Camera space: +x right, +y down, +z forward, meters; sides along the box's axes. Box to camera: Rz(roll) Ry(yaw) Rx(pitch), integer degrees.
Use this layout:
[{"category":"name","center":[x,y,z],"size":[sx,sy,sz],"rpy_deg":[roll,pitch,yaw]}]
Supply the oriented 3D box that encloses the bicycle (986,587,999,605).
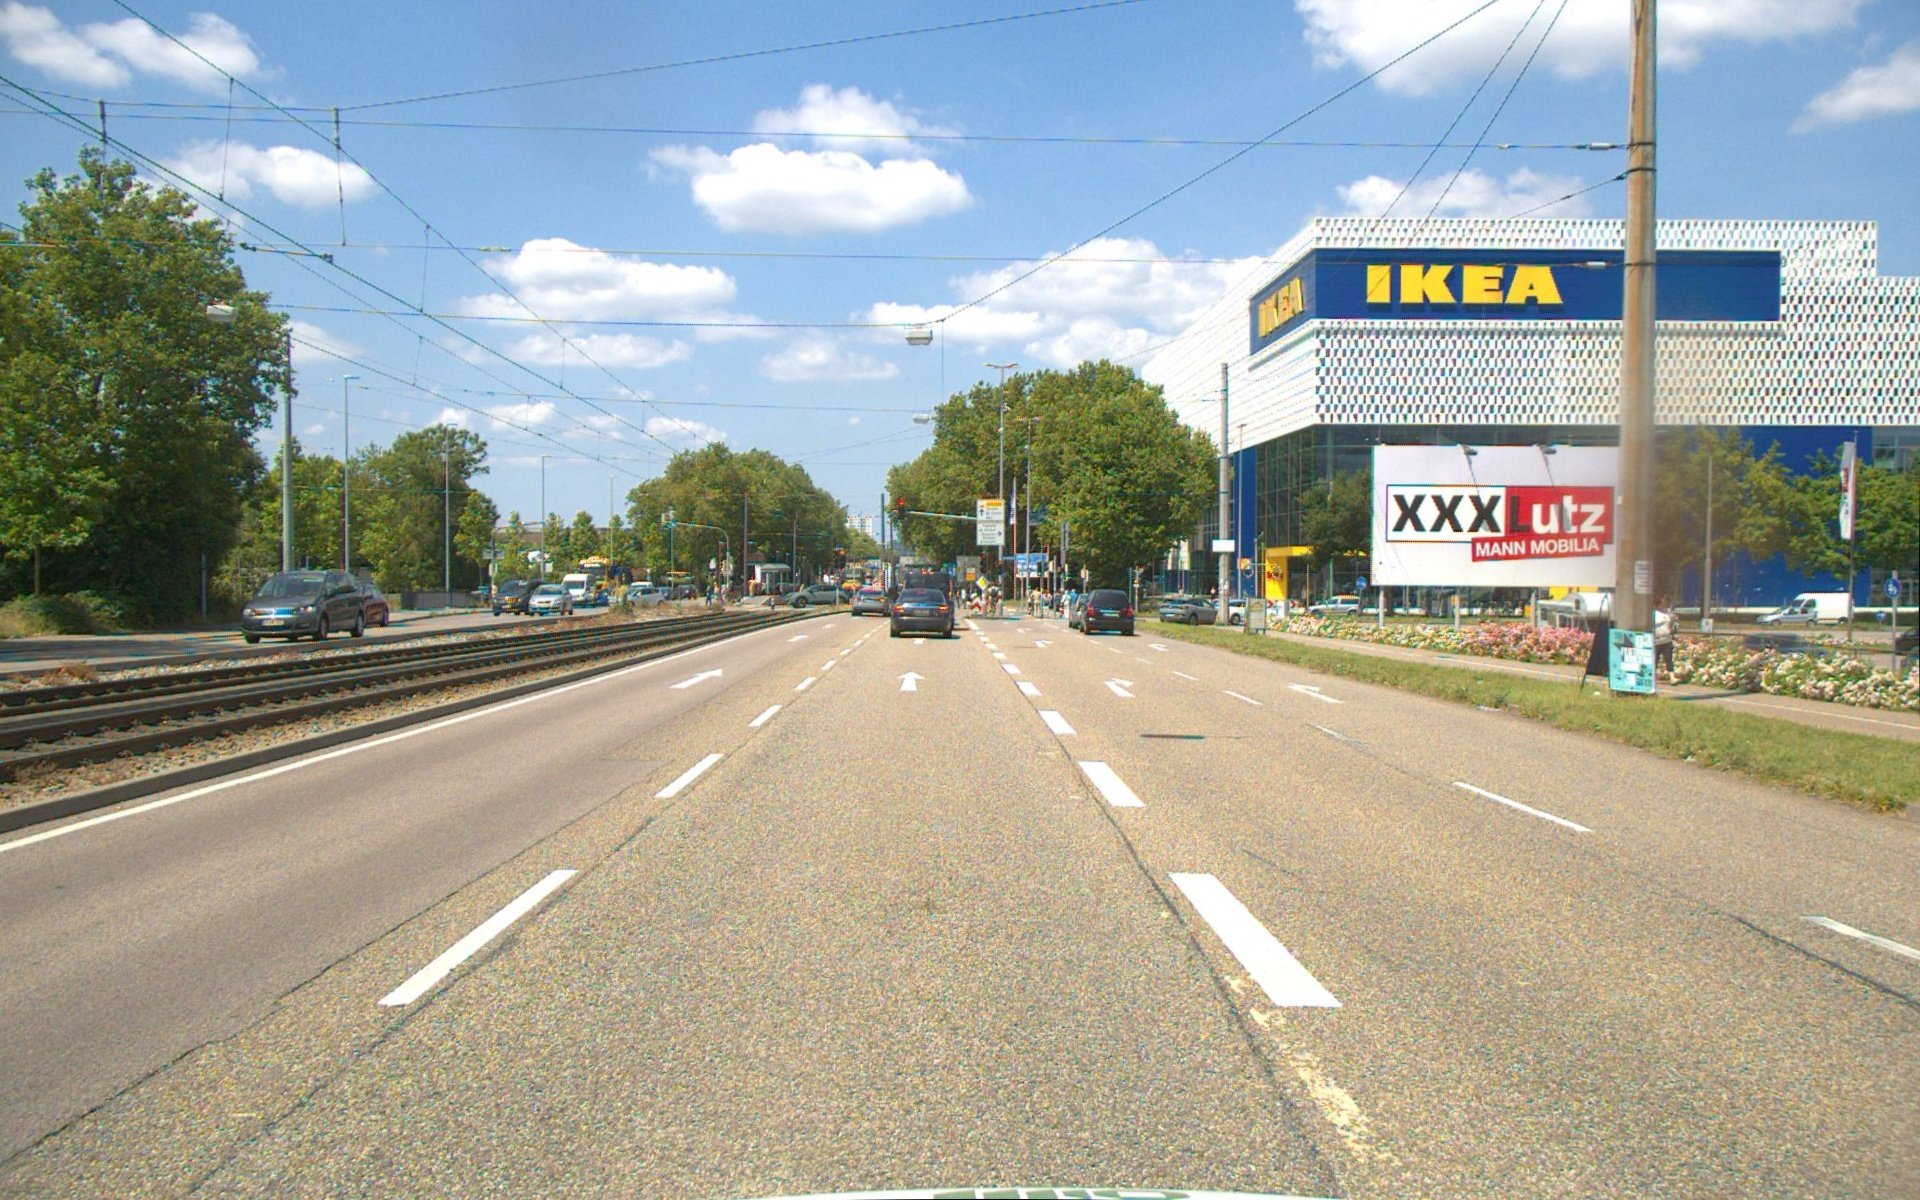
[{"category":"bicycle","center":[1.875,-0.258,95.277],"size":[0.674,1.011,2.751],"rpy_deg":[1,0,-1]}]

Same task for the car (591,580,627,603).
[{"category":"car","center":[-26.826,-0.659,126.505],"size":[1.785,1.699,4.460],"rpy_deg":[2,1,-1]}]

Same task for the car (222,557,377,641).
[{"category":"car","center":[-16.126,-0.052,40.651],"size":[1.954,1.862,4.967],"rpy_deg":[-2,1,-3]}]

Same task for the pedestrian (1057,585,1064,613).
[{"category":"pedestrian","center":[5.891,-0.058,97.183],"size":[0.332,1.663,0.377],"rpy_deg":[1,0,2]}]

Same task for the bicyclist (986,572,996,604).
[{"category":"bicyclist","center":[1.799,-0.661,95.182],"size":[0.518,1.820,1.088],"rpy_deg":[1,0,-1]}]

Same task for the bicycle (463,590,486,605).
[{"category":"bicycle","center":[-34.478,-0.191,117.433],"size":[1.462,1.004,0.485],"rpy_deg":[1,0,-5]}]

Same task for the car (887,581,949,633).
[{"category":"car","center":[-1.245,0.163,49.512],"size":[1.756,1.480,3.999],"rpy_deg":[0,1,-1]}]

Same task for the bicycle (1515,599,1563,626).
[{"category":"bicycle","center":[33.048,0.702,94.442],"size":[2.372,1.507,0.989],"rpy_deg":[1,0,3]}]

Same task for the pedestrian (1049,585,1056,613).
[{"category":"pedestrian","center":[5.426,-0.052,97.333],"size":[0.373,1.663,0.377],"rpy_deg":[1,0,2]}]

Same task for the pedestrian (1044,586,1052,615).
[{"category":"pedestrian","center":[5.079,0.026,95.188],"size":[0.436,1.663,0.430],"rpy_deg":[1,0,2]}]

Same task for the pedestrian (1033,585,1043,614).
[{"category":"pedestrian","center":[4.479,-0.031,95.202],"size":[0.542,1.663,0.433],"rpy_deg":[1,0,2]}]

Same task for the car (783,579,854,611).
[{"category":"car","center":[-9.553,-0.333,111.664],"size":[4.334,1.951,1.987],"rpy_deg":[2,1,-22]}]

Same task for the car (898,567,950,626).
[{"category":"car","center":[-1.298,-0.170,59.366],"size":[1.799,1.984,3.999],"rpy_deg":[1,1,-2]}]

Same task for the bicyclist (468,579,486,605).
[{"category":"bicyclist","center":[-34.289,-0.584,117.450],"size":[1.097,1.805,0.340],"rpy_deg":[1,0,-6]}]

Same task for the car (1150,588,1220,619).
[{"category":"car","center":[11.959,0.214,87.772],"size":[1.961,1.512,4.129],"rpy_deg":[3,1,36]}]

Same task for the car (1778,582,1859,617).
[{"category":"car","center":[60.894,-0.064,117.391],"size":[4.660,2.349,2.001],"rpy_deg":[1,0,2]}]

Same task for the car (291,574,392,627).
[{"category":"car","center":[-21.300,-0.013,57.122],"size":[1.954,1.699,4.466],"rpy_deg":[-1,1,-3]}]

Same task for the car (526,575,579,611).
[{"category":"car","center":[-19.317,-0.342,78.556],"size":[1.652,1.611,4.056],"rpy_deg":[-2,1,-3]}]

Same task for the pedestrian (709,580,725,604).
[{"category":"pedestrian","center":[-17.814,-0.611,121.156],"size":[0.806,1.750,0.775],"rpy_deg":[1,0,21]}]

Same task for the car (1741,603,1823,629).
[{"category":"car","center":[54.619,1.043,109.914],"size":[4.404,1.512,2.001],"rpy_deg":[2,1,2]}]

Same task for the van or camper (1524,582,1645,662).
[{"category":"van or camper","center":[25.644,0.841,68.269],"size":[2.455,3.073,7.226],"rpy_deg":[1,0,3]}]

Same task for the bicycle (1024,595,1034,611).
[{"category":"bicycle","center":[4.025,0.159,96.916],"size":[0.538,0.892,1.698],"rpy_deg":[1,0,2]}]

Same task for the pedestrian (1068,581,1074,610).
[{"category":"pedestrian","center":[6.399,-0.255,95.205],"size":[0.314,1.663,0.377],"rpy_deg":[1,0,2]}]

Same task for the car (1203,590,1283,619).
[{"category":"car","center":[16.775,0.282,98.050],"size":[4.326,1.512,1.982],"rpy_deg":[2,1,-29]}]

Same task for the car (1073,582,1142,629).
[{"category":"car","center":[5.212,0.169,58.927],"size":[1.953,1.512,3.999],"rpy_deg":[2,1,-1]}]

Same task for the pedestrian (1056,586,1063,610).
[{"category":"pedestrian","center":[5.698,-0.115,95.175],"size":[0.365,1.326,0.365],"rpy_deg":[1,0,2]}]

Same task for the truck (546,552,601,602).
[{"category":"truck","center":[-29.477,-1.710,126.294],"size":[2.711,3.631,6.438],"rpy_deg":[1,0,-1]}]

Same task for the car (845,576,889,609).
[{"category":"car","center":[-4.623,-0.399,82.544],"size":[1.953,1.512,3.999],"rpy_deg":[2,1,-1]}]

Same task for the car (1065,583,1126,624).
[{"category":"car","center":[5.393,0.122,66.299],"size":[1.953,1.512,4.166],"rpy_deg":[2,1,-1]}]

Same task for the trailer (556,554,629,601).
[{"category":"trailer","center":[-29.671,-1.766,134.370],"size":[2.711,3.579,15.874],"rpy_deg":[1,0,-1]}]

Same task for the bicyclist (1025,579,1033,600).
[{"category":"bicyclist","center":[4.050,-0.606,97.216],"size":[0.461,1.214,0.791],"rpy_deg":[1,0,1]}]

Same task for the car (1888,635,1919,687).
[{"category":"car","center":[30.271,1.871,49.961],"size":[1.953,1.522,4.302],"rpy_deg":[-2,1,-1]}]

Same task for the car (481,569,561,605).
[{"category":"car","center":[-23.643,-0.727,89.224],"size":[1.951,1.862,4.974],"rpy_deg":[-1,1,15]}]

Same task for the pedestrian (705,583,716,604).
[{"category":"pedestrian","center":[-17.892,-0.489,118.586],"size":[0.672,1.468,0.572],"rpy_deg":[1,0,-5]}]

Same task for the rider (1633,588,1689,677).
[{"category":"rider","center":[11.964,0.542,28.227],"size":[0.655,1.483,0.618],"rpy_deg":[1,0,-2]}]

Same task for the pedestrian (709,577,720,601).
[{"category":"pedestrian","center":[-17.495,-0.789,117.765],"size":[0.672,1.666,0.572],"rpy_deg":[1,0,-5]}]

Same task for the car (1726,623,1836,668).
[{"category":"car","center":[32.413,1.772,65.449],"size":[1.953,1.564,4.768],"rpy_deg":[0,0,-1]}]

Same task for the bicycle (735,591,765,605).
[{"category":"bicycle","center":[-15.004,-0.118,118.121],"size":[2.019,0.941,0.751],"rpy_deg":[1,0,-11]}]

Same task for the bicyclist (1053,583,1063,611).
[{"category":"bicyclist","center":[6.376,-0.170,107.574],"size":[0.517,1.795,0.828],"rpy_deg":[1,0,12]}]
